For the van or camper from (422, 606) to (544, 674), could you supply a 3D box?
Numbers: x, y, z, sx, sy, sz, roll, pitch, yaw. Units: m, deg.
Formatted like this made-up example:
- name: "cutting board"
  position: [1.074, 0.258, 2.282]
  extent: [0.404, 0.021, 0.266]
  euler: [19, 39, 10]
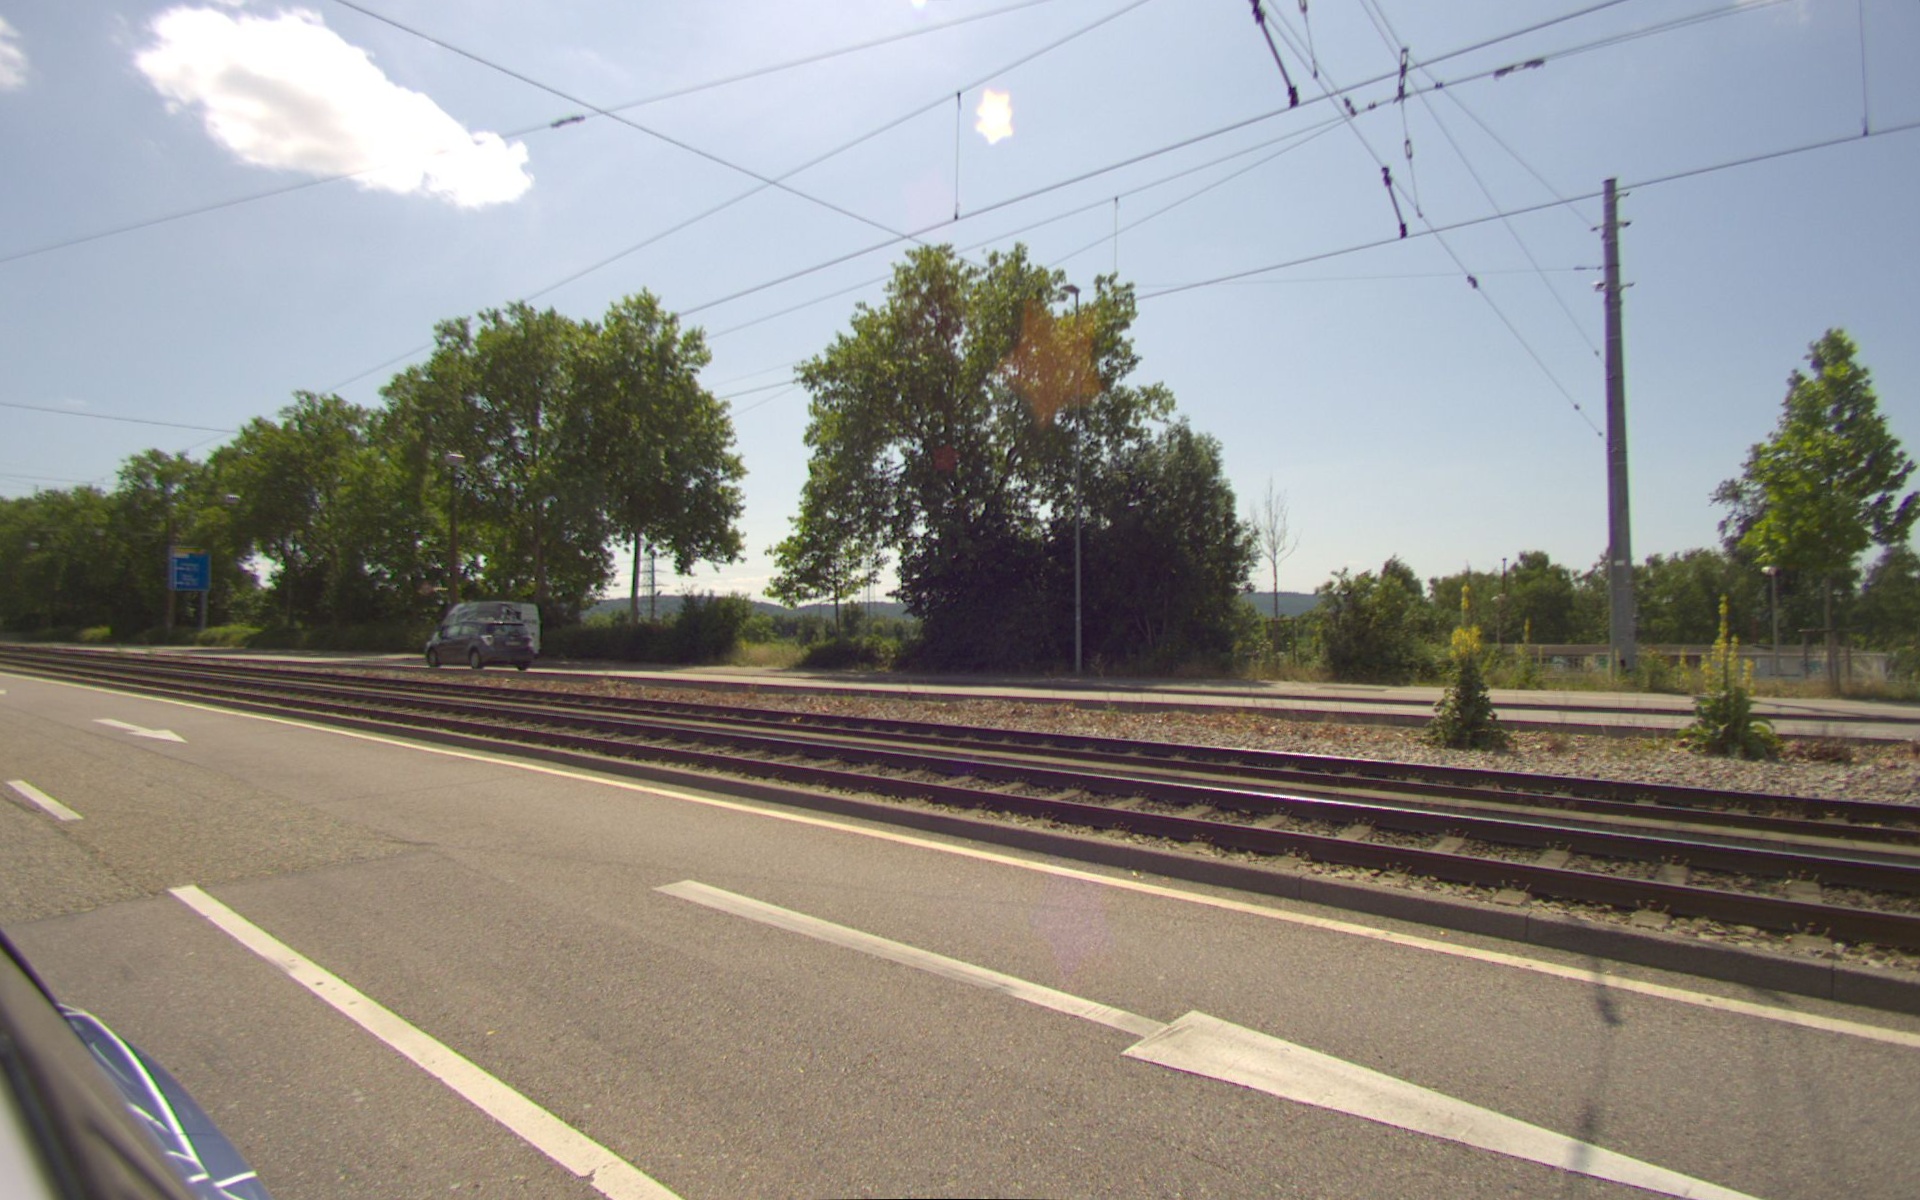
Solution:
- name: "van or camper"
  position: [-19.572, 1.627, 41.396]
  extent: [5.834, 2.606, 1.975]
  euler: [-1, -3, 37]

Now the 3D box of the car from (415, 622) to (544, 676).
- name: "car"
  position: [-15.789, 1.615, 33.221]
  extent: [4.256, 1.649, 1.976]
  euler: [-2, -4, 35]
